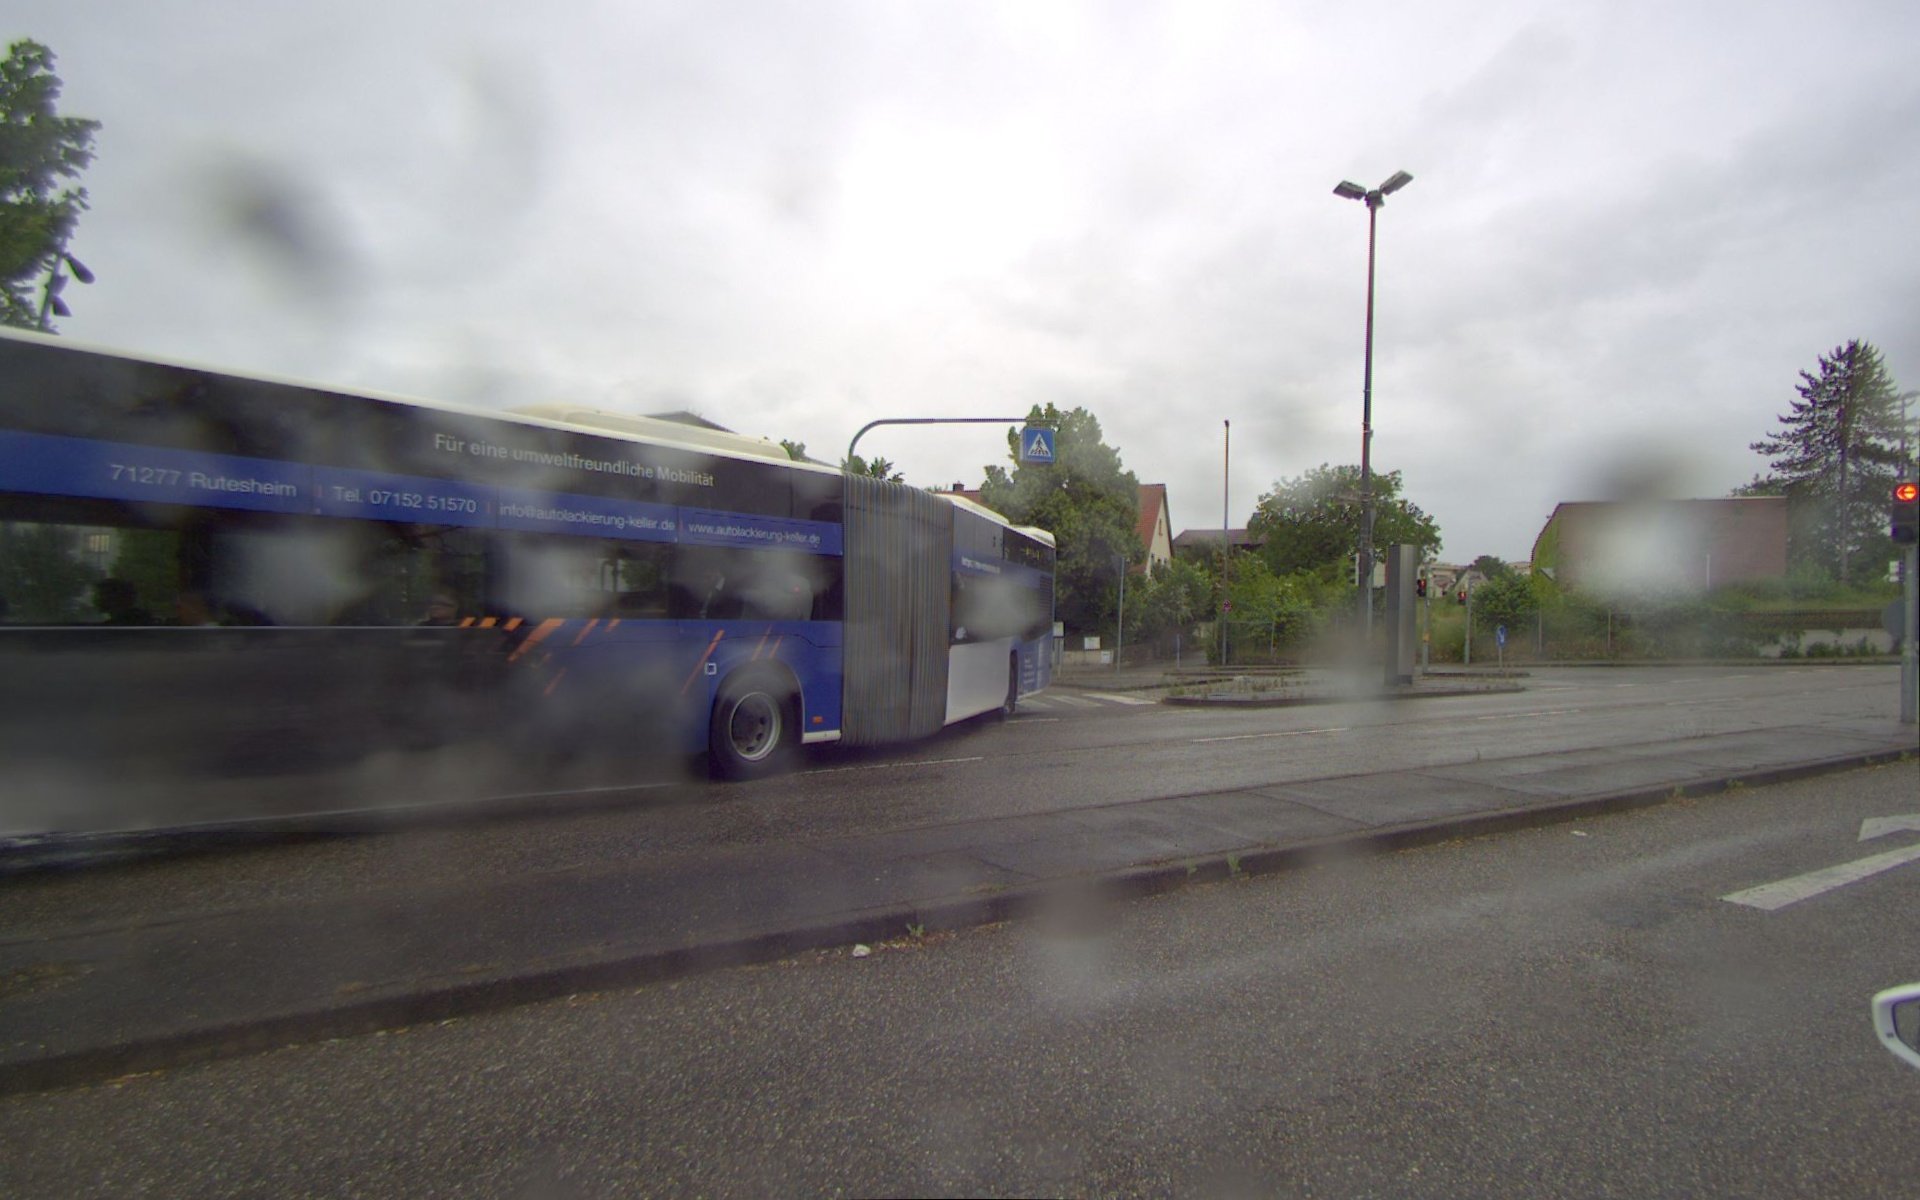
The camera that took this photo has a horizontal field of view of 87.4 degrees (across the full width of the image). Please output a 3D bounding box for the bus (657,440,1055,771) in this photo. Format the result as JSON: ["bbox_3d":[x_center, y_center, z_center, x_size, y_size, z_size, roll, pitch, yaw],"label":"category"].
[{"bbox_3d":[-0.649,0.191,14.452,2.729,3.155,9.375,0,-2,13],"label":"bus"}]

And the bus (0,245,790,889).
[{"bbox_3d":[-5.361,-0.128,6.312,2.758,3.155,8.845,0,-2,39],"label":"bus"}]
